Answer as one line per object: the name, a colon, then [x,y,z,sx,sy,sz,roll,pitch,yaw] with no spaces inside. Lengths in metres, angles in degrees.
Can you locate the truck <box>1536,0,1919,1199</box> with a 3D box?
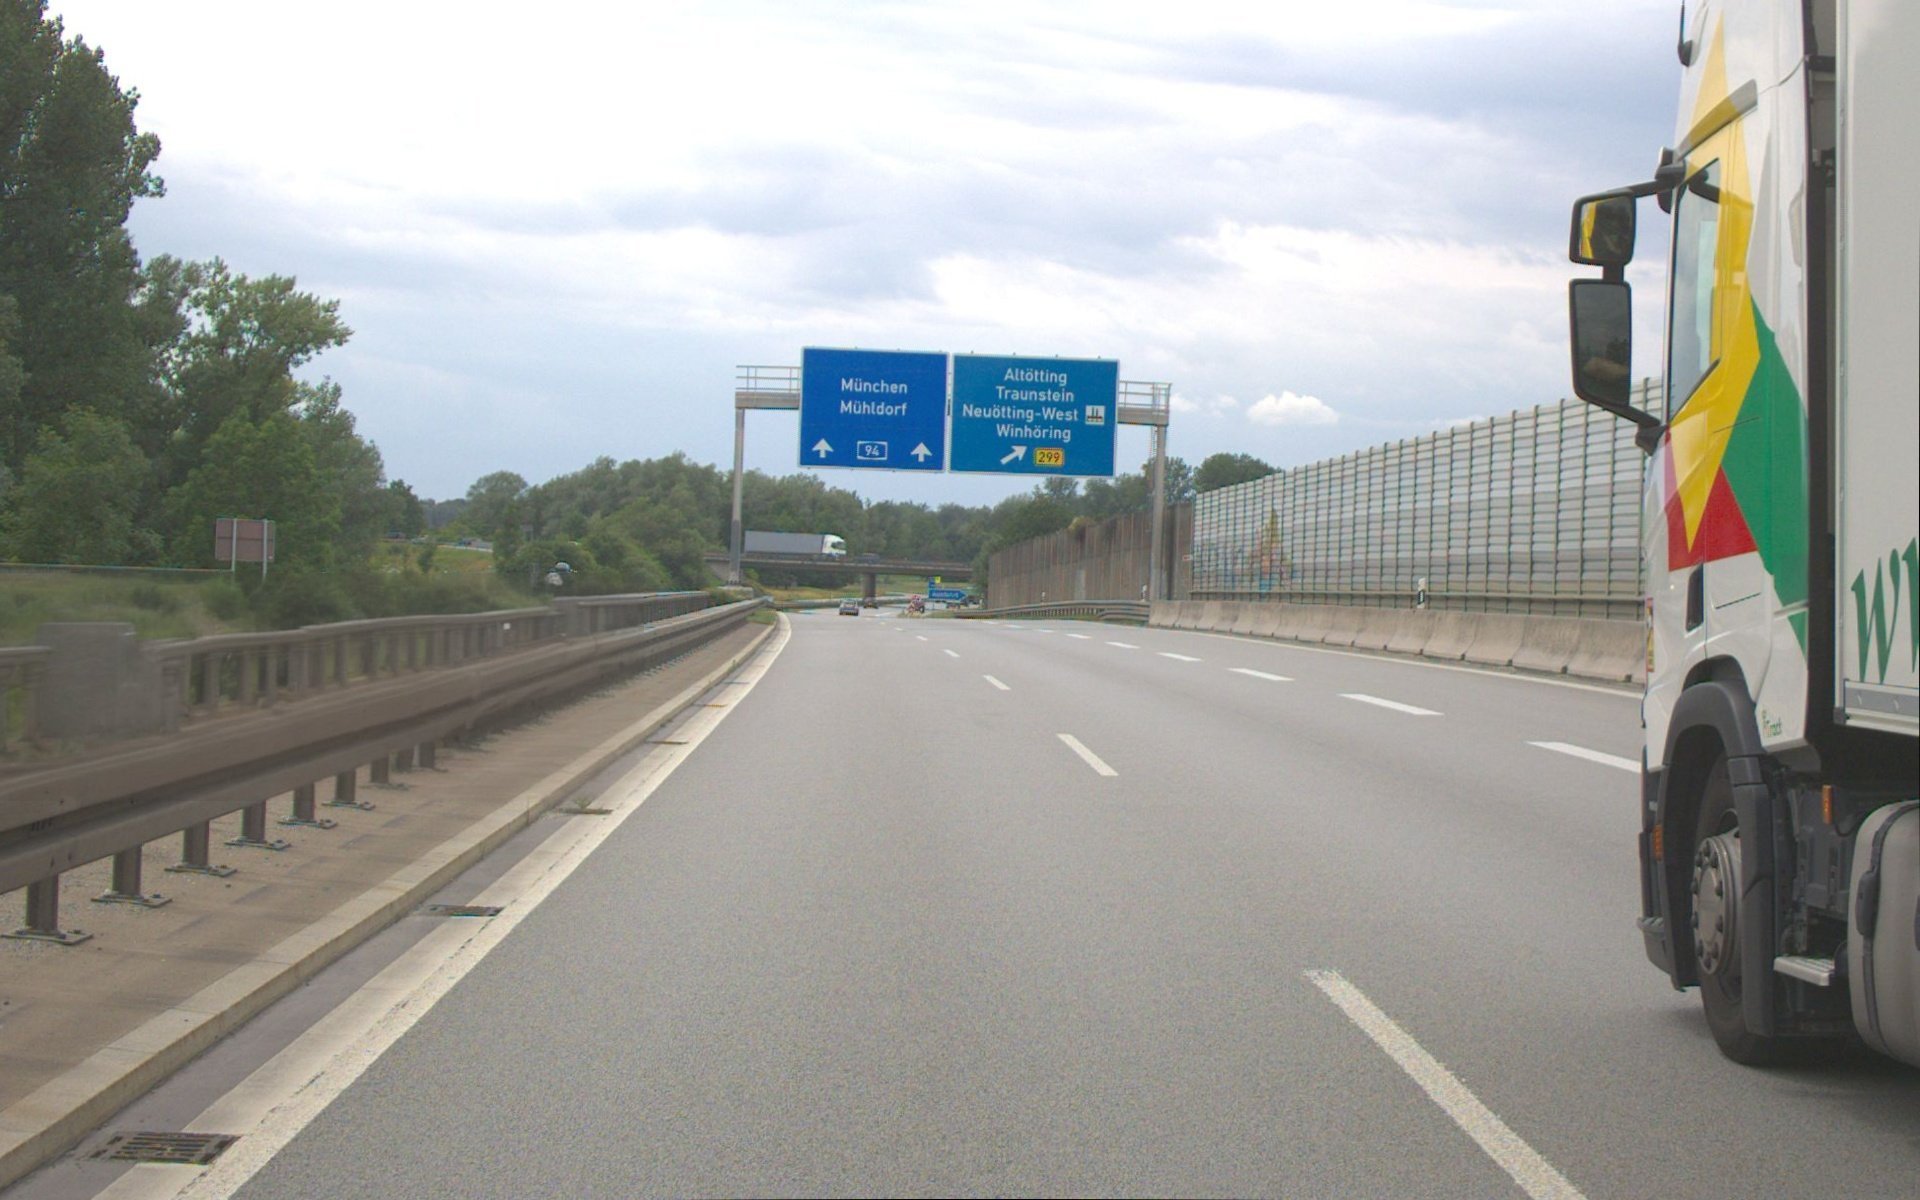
truck: [3.514,-0.528,9.570,2.756,3.946,5.677,1,1,-1]

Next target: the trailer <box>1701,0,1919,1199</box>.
trailer: [3.607,-0.610,2.695,2.792,4.160,14.104,1,1,-1]

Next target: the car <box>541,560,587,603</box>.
car: [-19.590,-0.886,170.117,1.993,1.996,4.744,2,-1,-4]
